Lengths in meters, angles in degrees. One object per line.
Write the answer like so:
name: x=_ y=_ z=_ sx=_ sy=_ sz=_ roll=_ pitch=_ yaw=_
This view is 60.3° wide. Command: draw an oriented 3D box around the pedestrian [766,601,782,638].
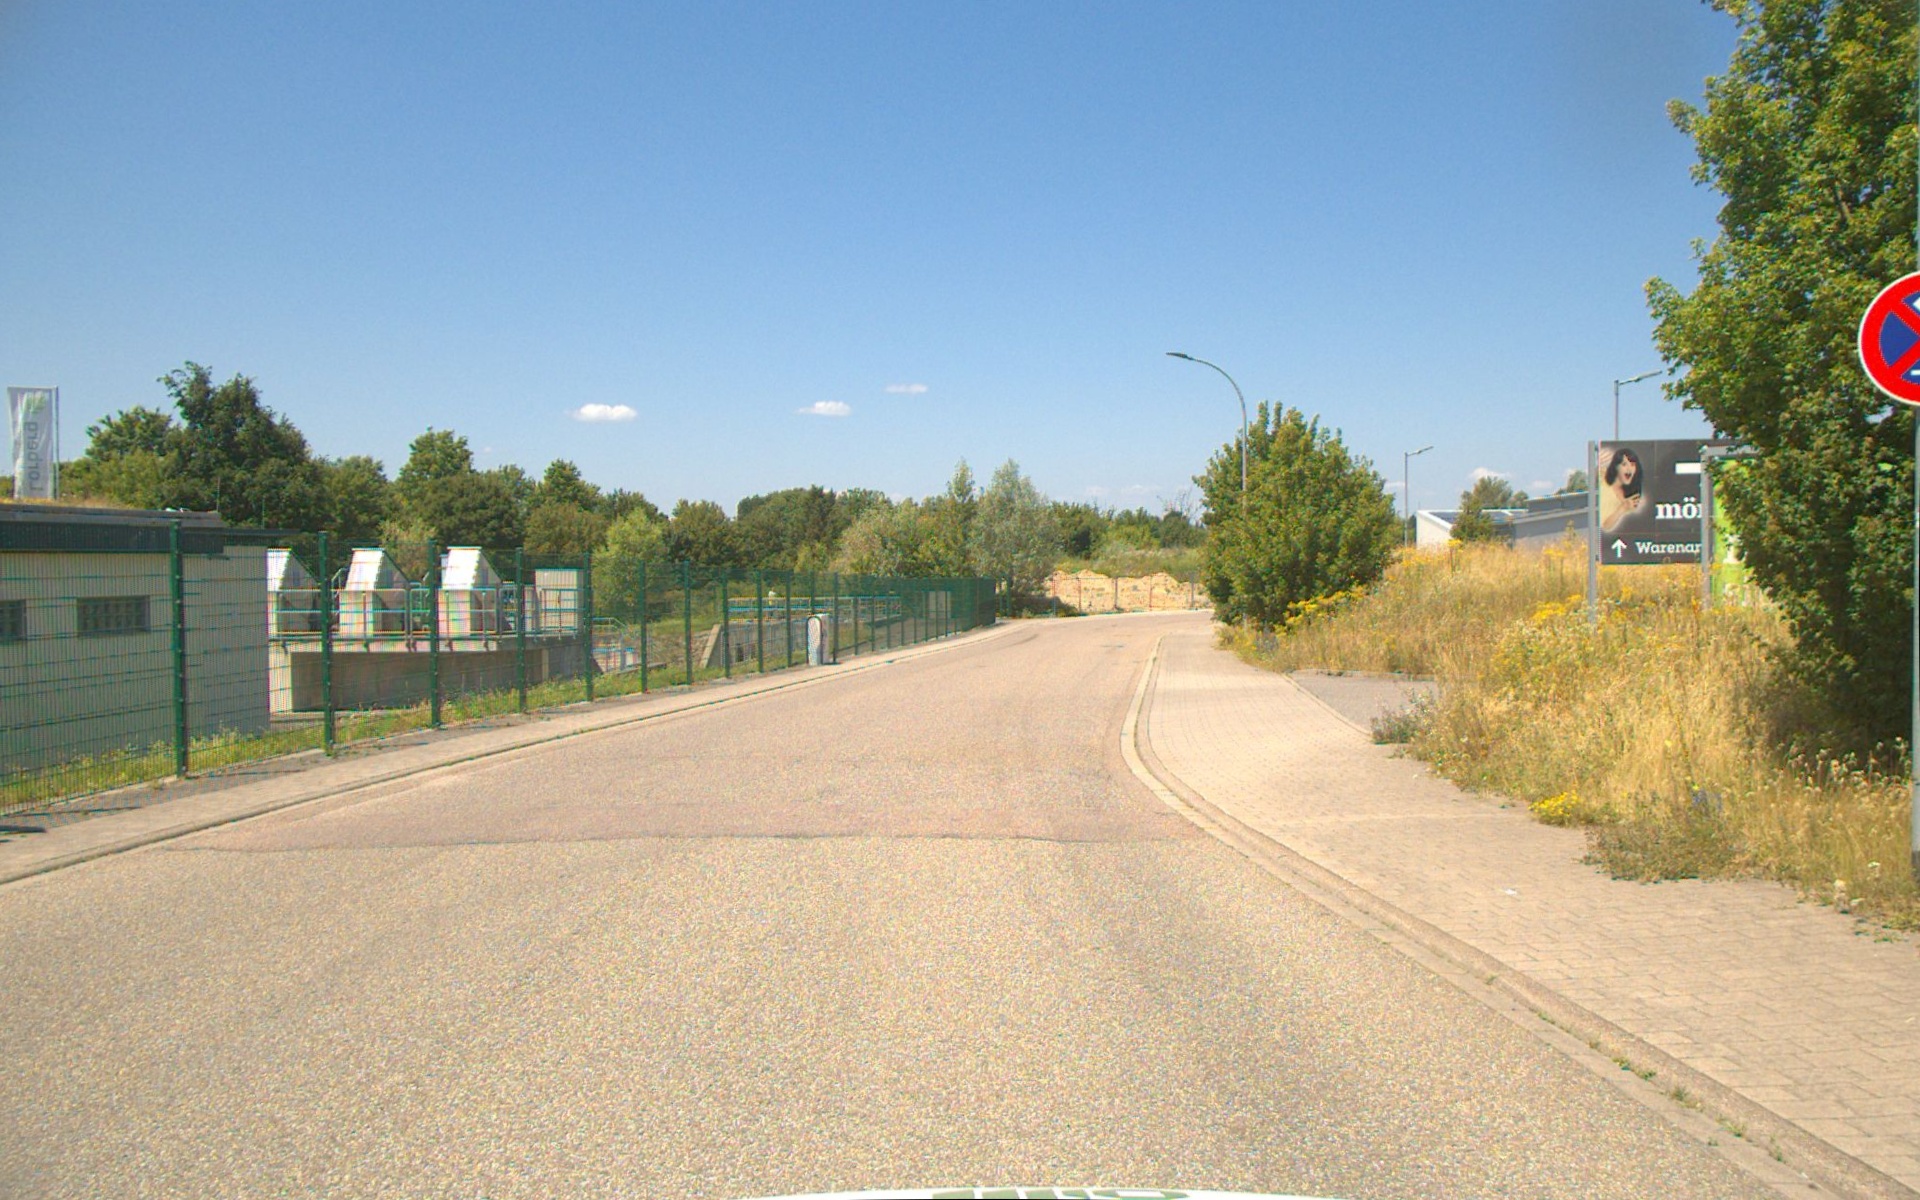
pedestrian: x=-9.715 y=1.022 z=86.399 sx=0.593 sy=1.871 sz=0.805 roll=-2 pitch=0 yaw=6
